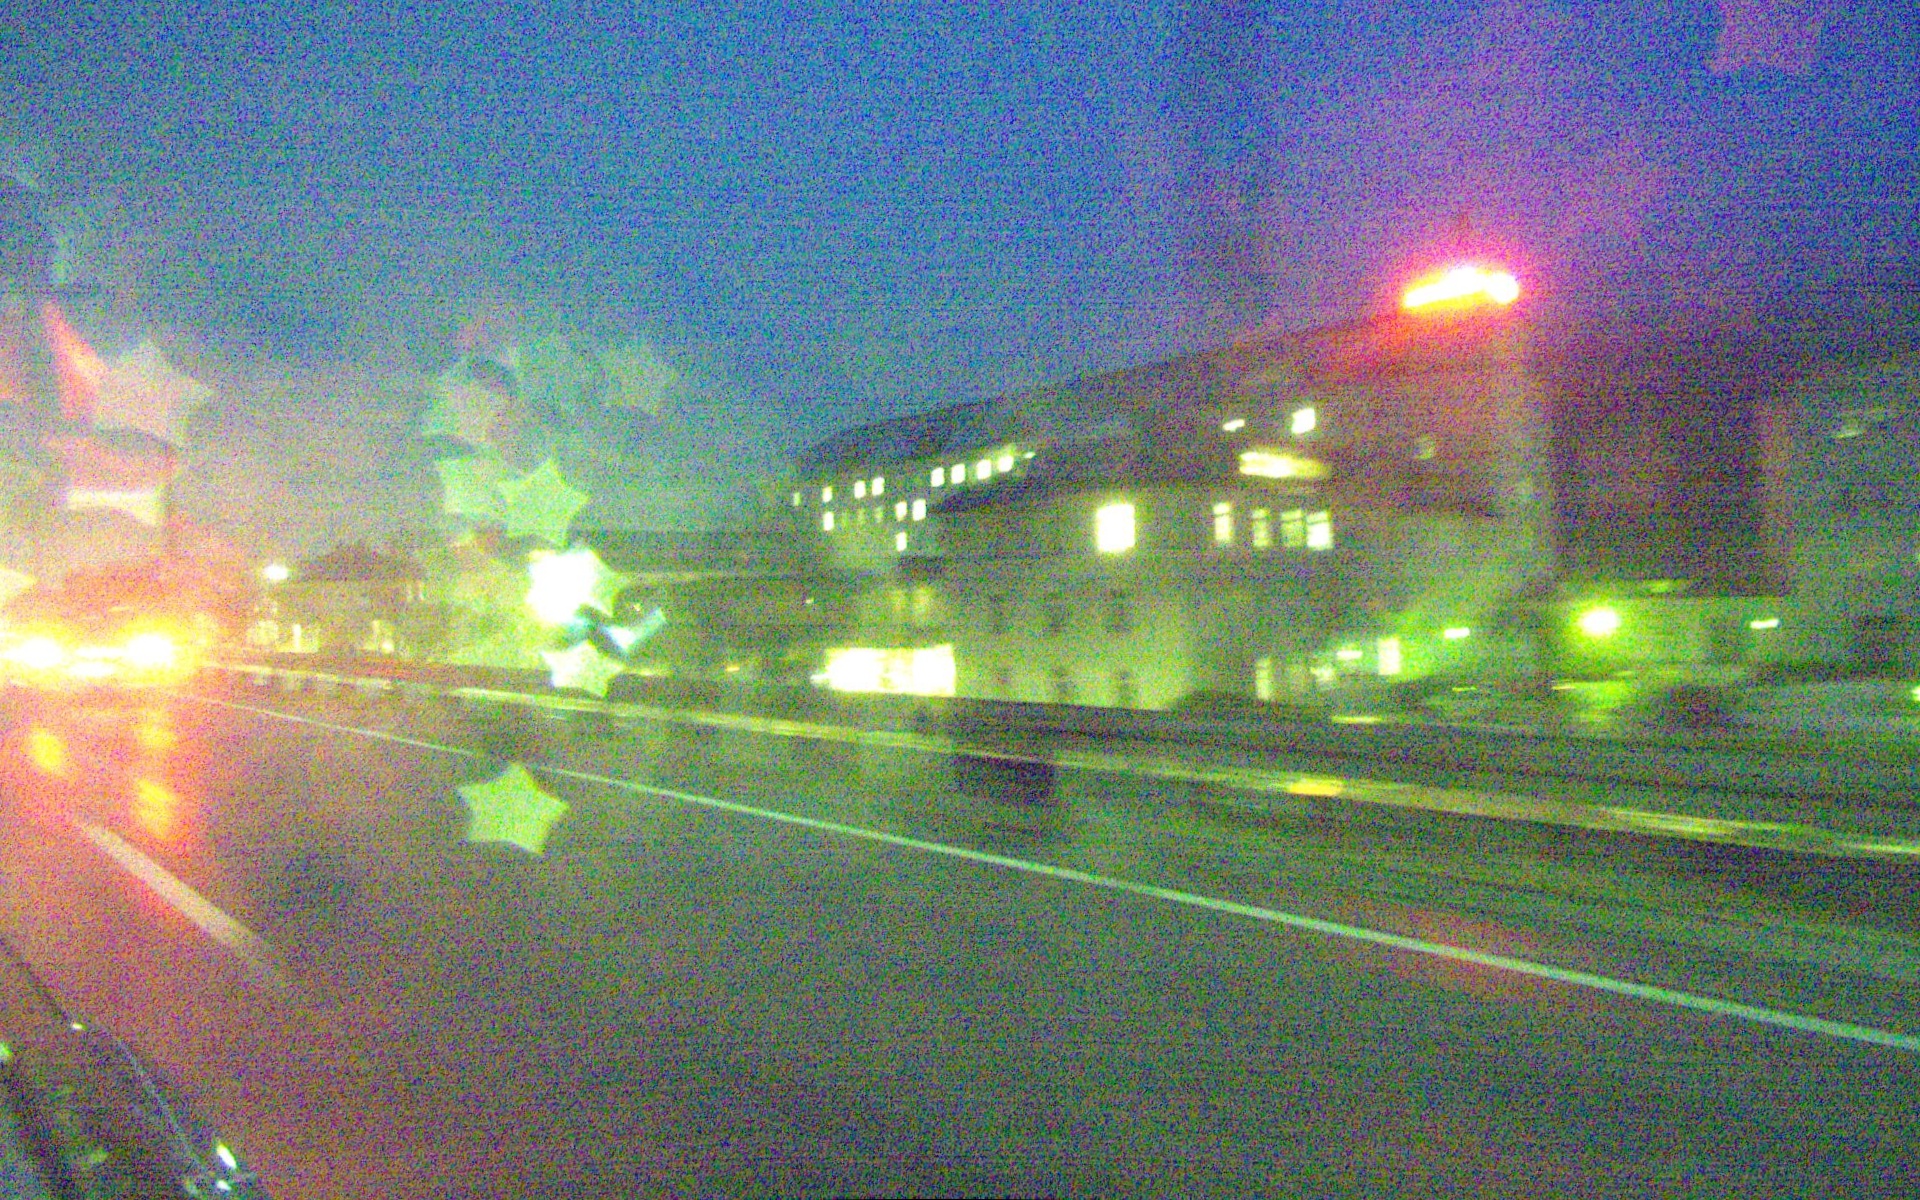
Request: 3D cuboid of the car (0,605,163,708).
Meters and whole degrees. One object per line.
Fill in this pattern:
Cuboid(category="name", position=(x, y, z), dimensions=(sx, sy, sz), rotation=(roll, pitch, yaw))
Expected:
Cuboid(category="car", position=(-15.937, 0.949, 18.182), dimensions=(3.844, 1.625, 1.849), rotation=(-1, -1, 41))
